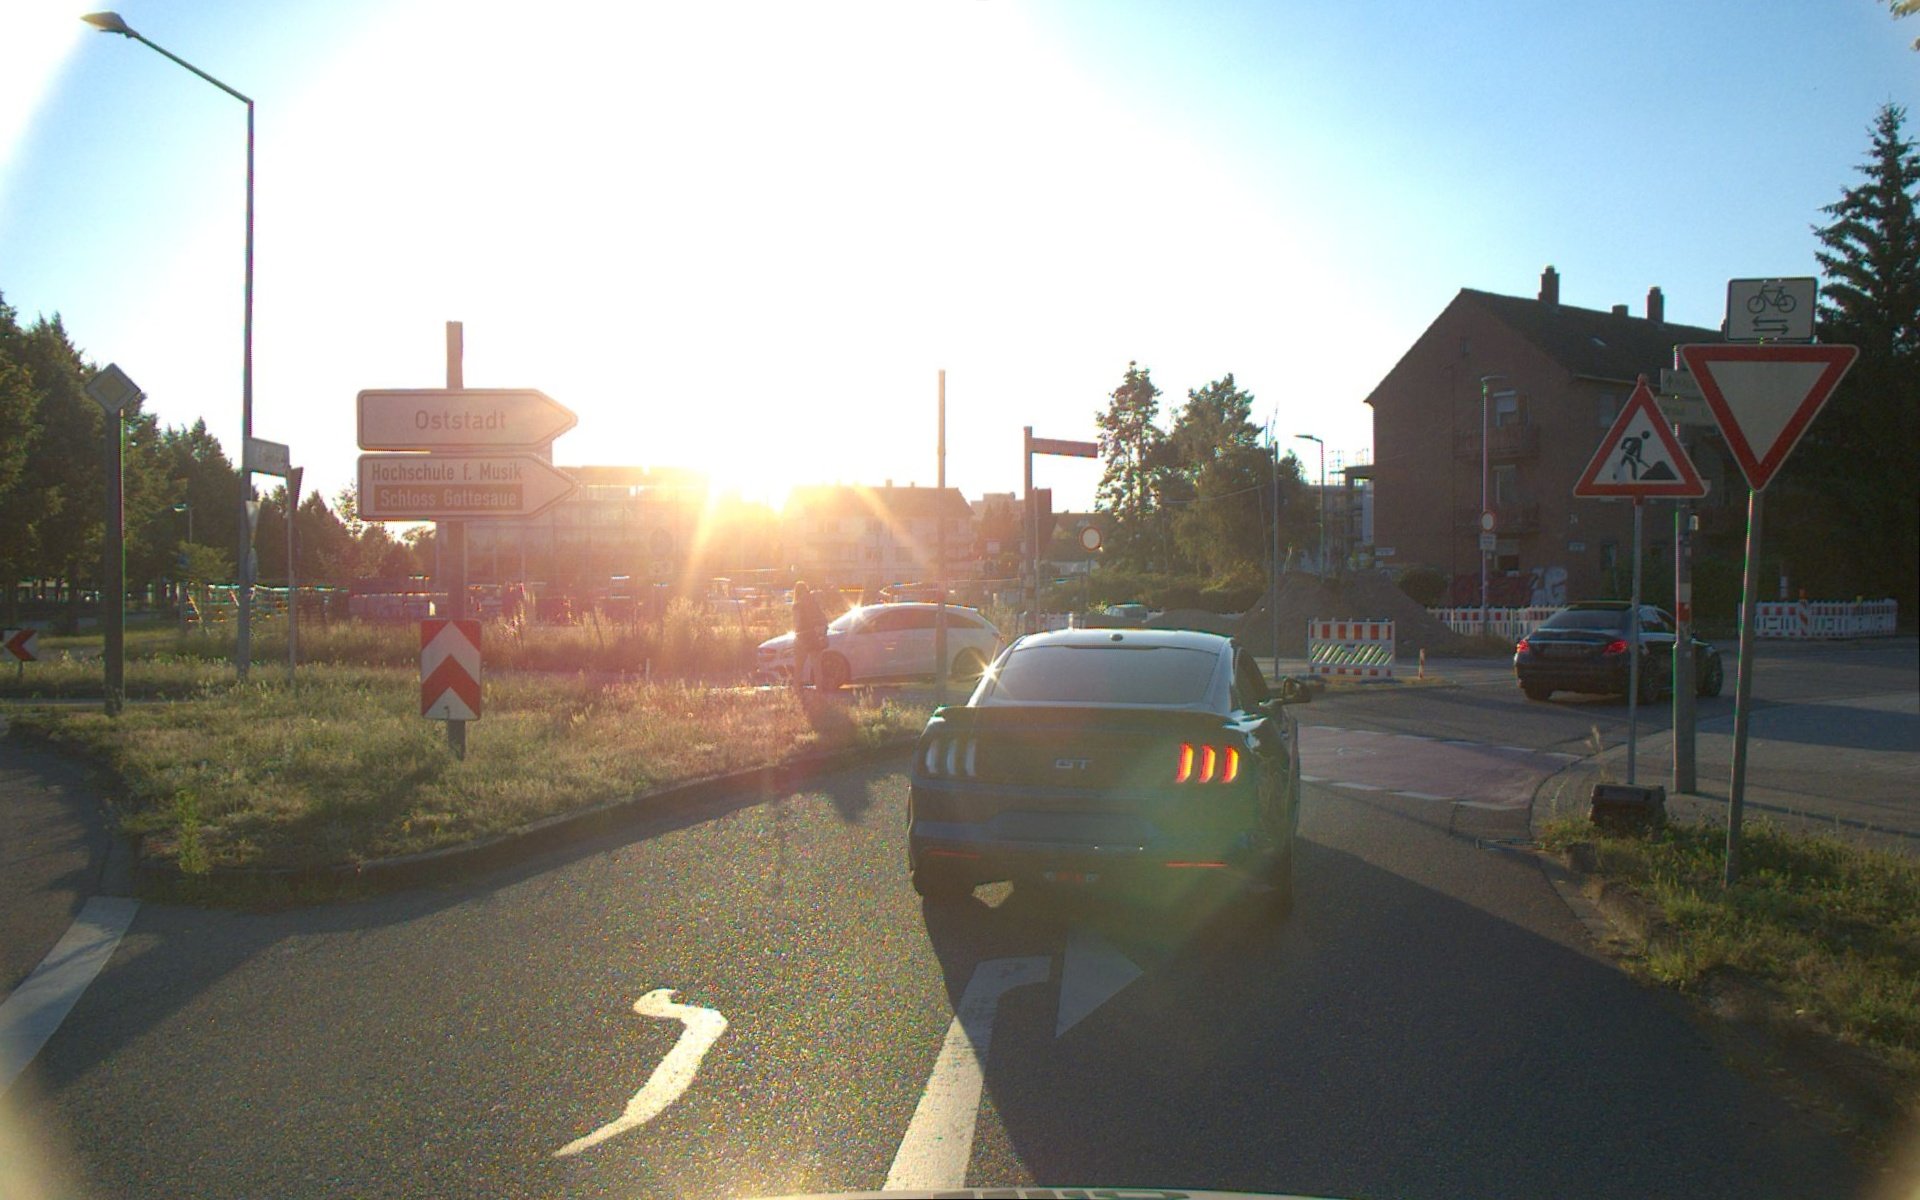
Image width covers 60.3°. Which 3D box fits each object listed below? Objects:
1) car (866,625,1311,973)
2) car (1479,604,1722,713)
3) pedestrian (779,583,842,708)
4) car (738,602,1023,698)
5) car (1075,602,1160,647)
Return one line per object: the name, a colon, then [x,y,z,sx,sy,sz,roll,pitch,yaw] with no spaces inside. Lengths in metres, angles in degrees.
car: [0.998,0.870,9.414,1.909,1.365,4.674,1,0,12]
car: [9.696,0.806,24.872,1.924,1.452,4.400,0,0,43]
pedestrian: [-2.099,0.626,23.295,0.826,1.716,0.887,0,0,-2]
car: [-1.382,0.836,29.179,4.590,1.478,2.055,-1,0,-29]
car: [6.215,0.954,65.589,1.963,1.736,3.980,0,0,-18]
